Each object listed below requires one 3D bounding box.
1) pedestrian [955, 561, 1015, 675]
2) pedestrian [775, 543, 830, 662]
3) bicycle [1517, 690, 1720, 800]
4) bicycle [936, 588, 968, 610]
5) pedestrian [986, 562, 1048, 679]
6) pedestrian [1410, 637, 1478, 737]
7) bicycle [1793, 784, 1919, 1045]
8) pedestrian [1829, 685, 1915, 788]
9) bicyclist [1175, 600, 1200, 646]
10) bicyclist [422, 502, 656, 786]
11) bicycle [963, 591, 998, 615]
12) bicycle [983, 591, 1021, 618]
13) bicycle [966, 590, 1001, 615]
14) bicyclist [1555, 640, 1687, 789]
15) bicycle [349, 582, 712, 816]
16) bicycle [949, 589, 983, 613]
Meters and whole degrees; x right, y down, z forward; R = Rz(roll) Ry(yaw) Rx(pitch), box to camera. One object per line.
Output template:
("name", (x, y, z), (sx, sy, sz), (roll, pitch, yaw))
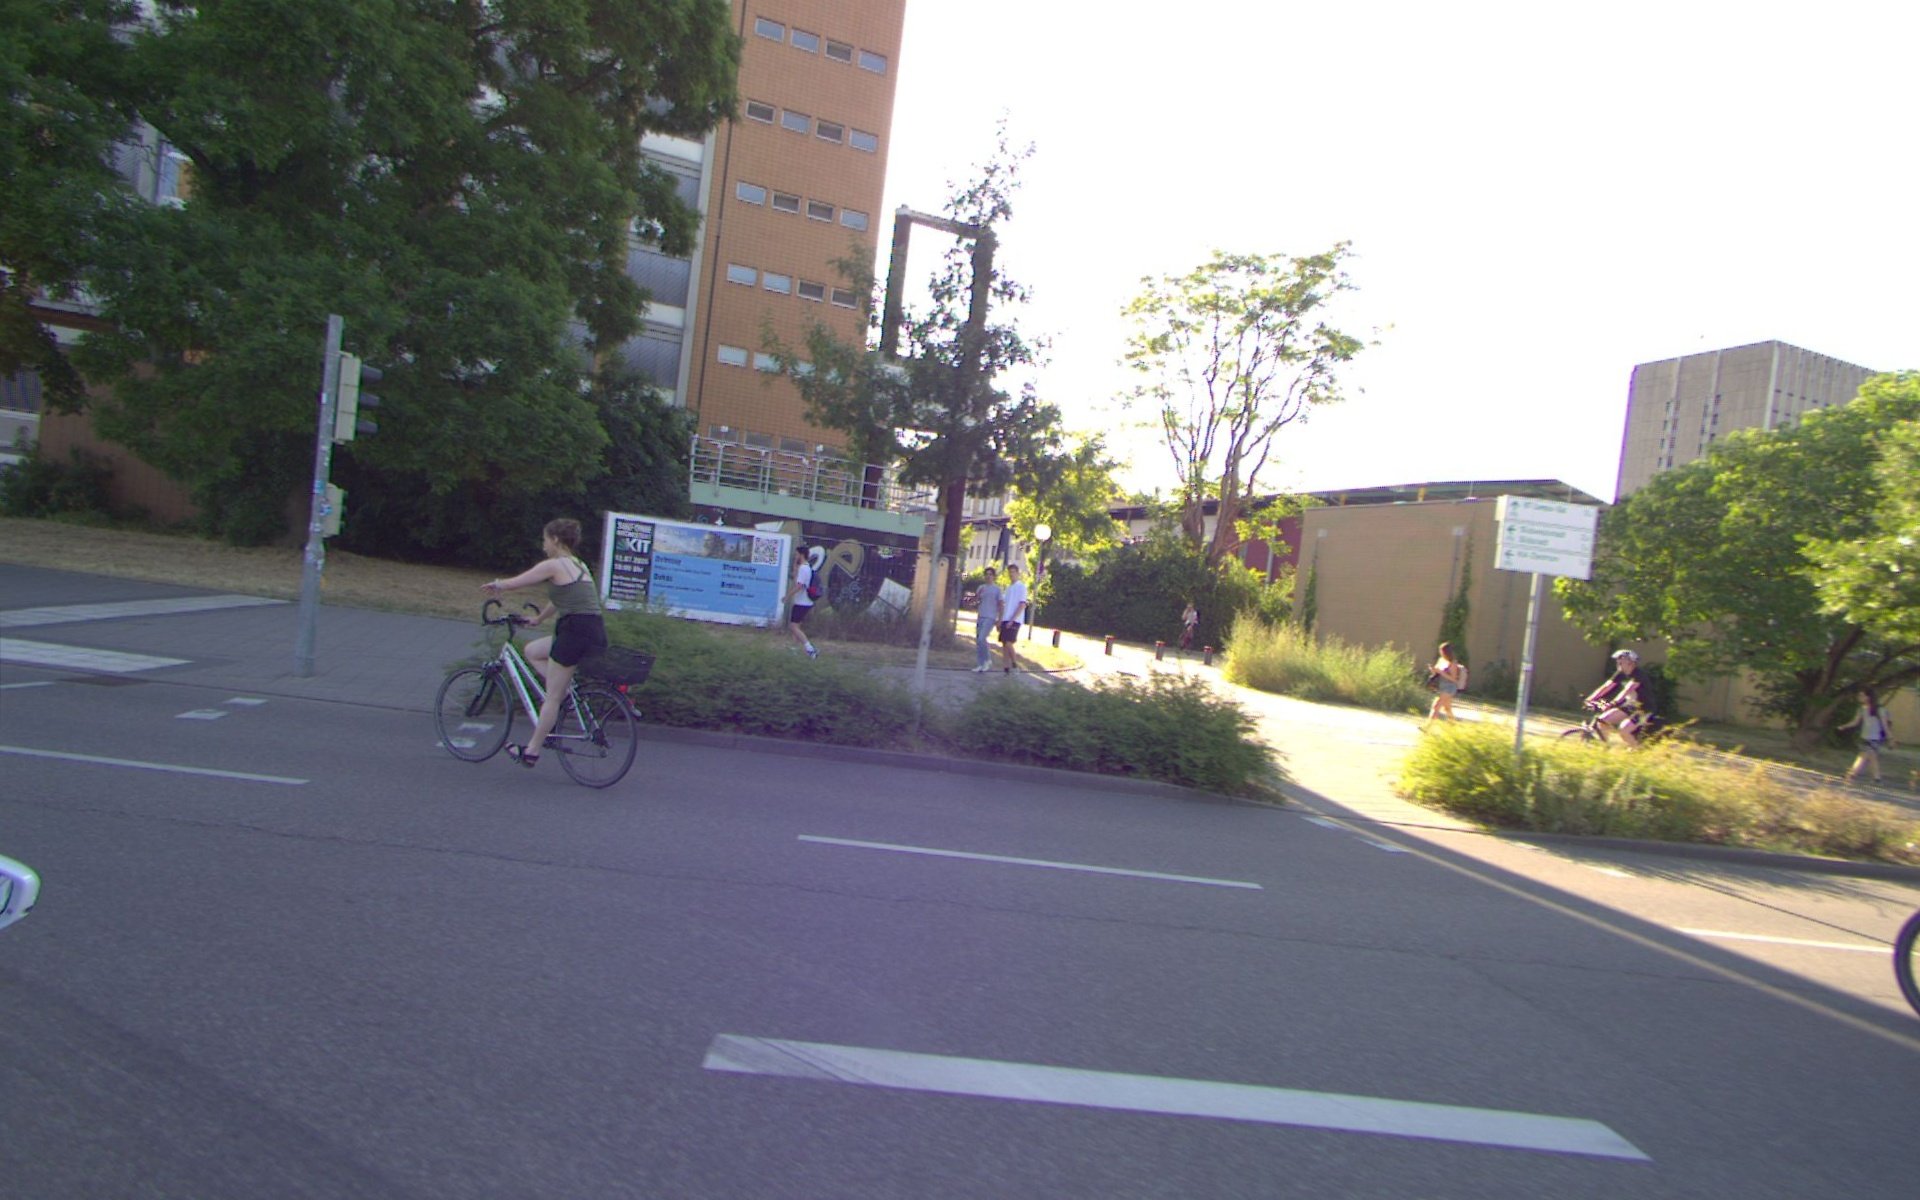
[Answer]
("pedestrian", (0.432, 0.319, 17.396), (0.613, 1.894, 0.574), (8, 2, 36))
("pedestrian", (-2.418, 0.035, 15.474), (0.619, 1.721, 0.621), (6, 2, -6))
("bicycle", (9.076, 1.991, 13.913), (2.250, 1.171, 0.779), (7, 2, -6))
("bicycle", (-0.504, -0.067, 62.386), (1.773, 1.121, 0.498), (9, 1, -15))
("pedestrian", (0.965, 0.348, 16.961), (0.613, 1.894, 0.574), (8, 2, 36))
("pedestrian", (8.335, 1.493, 17.341), (0.629, 1.595, 0.620), (6, 2, -15))
("bicycle", (5.320, 1.626, 4.319), (0.769, 1.170, 2.569), (6, -1, -21))
("pedestrian", (16.722, 2.494, 18.460), (0.864, 1.726, 0.673), (6, 2, -20))
("bicyclist", (7.742, 0.787, 34.303), (0.611, 1.452, 0.918), (9, 1, 12))
("bicyclist", (-2.857, 0.274, 6.877), (1.072, 1.699, 0.780), (8, 2, 18))
("bicycle", (1.169, 0.161, 57.273), (1.773, 1.121, 0.498), (9, 1, -15))
("bicycle", (2.221, 0.245, 52.981), (1.773, 1.121, 0.498), (9, 1, -15))
("bicycle", (1.339, 0.160, 56.484), (1.773, 1.121, 0.498), (9, 1, -15))
("bicyclist", (9.103, 1.560, 13.890), (1.074, 1.854, 0.779), (7, 2, -5))
("bicycle", (-2.949, 0.615, 6.908), (2.248, 1.171, 0.780), (8, 2, 18))
("bicycle", (0.357, 0.063, 60.109), (1.773, 1.121, 0.498), (9, 1, -15))
